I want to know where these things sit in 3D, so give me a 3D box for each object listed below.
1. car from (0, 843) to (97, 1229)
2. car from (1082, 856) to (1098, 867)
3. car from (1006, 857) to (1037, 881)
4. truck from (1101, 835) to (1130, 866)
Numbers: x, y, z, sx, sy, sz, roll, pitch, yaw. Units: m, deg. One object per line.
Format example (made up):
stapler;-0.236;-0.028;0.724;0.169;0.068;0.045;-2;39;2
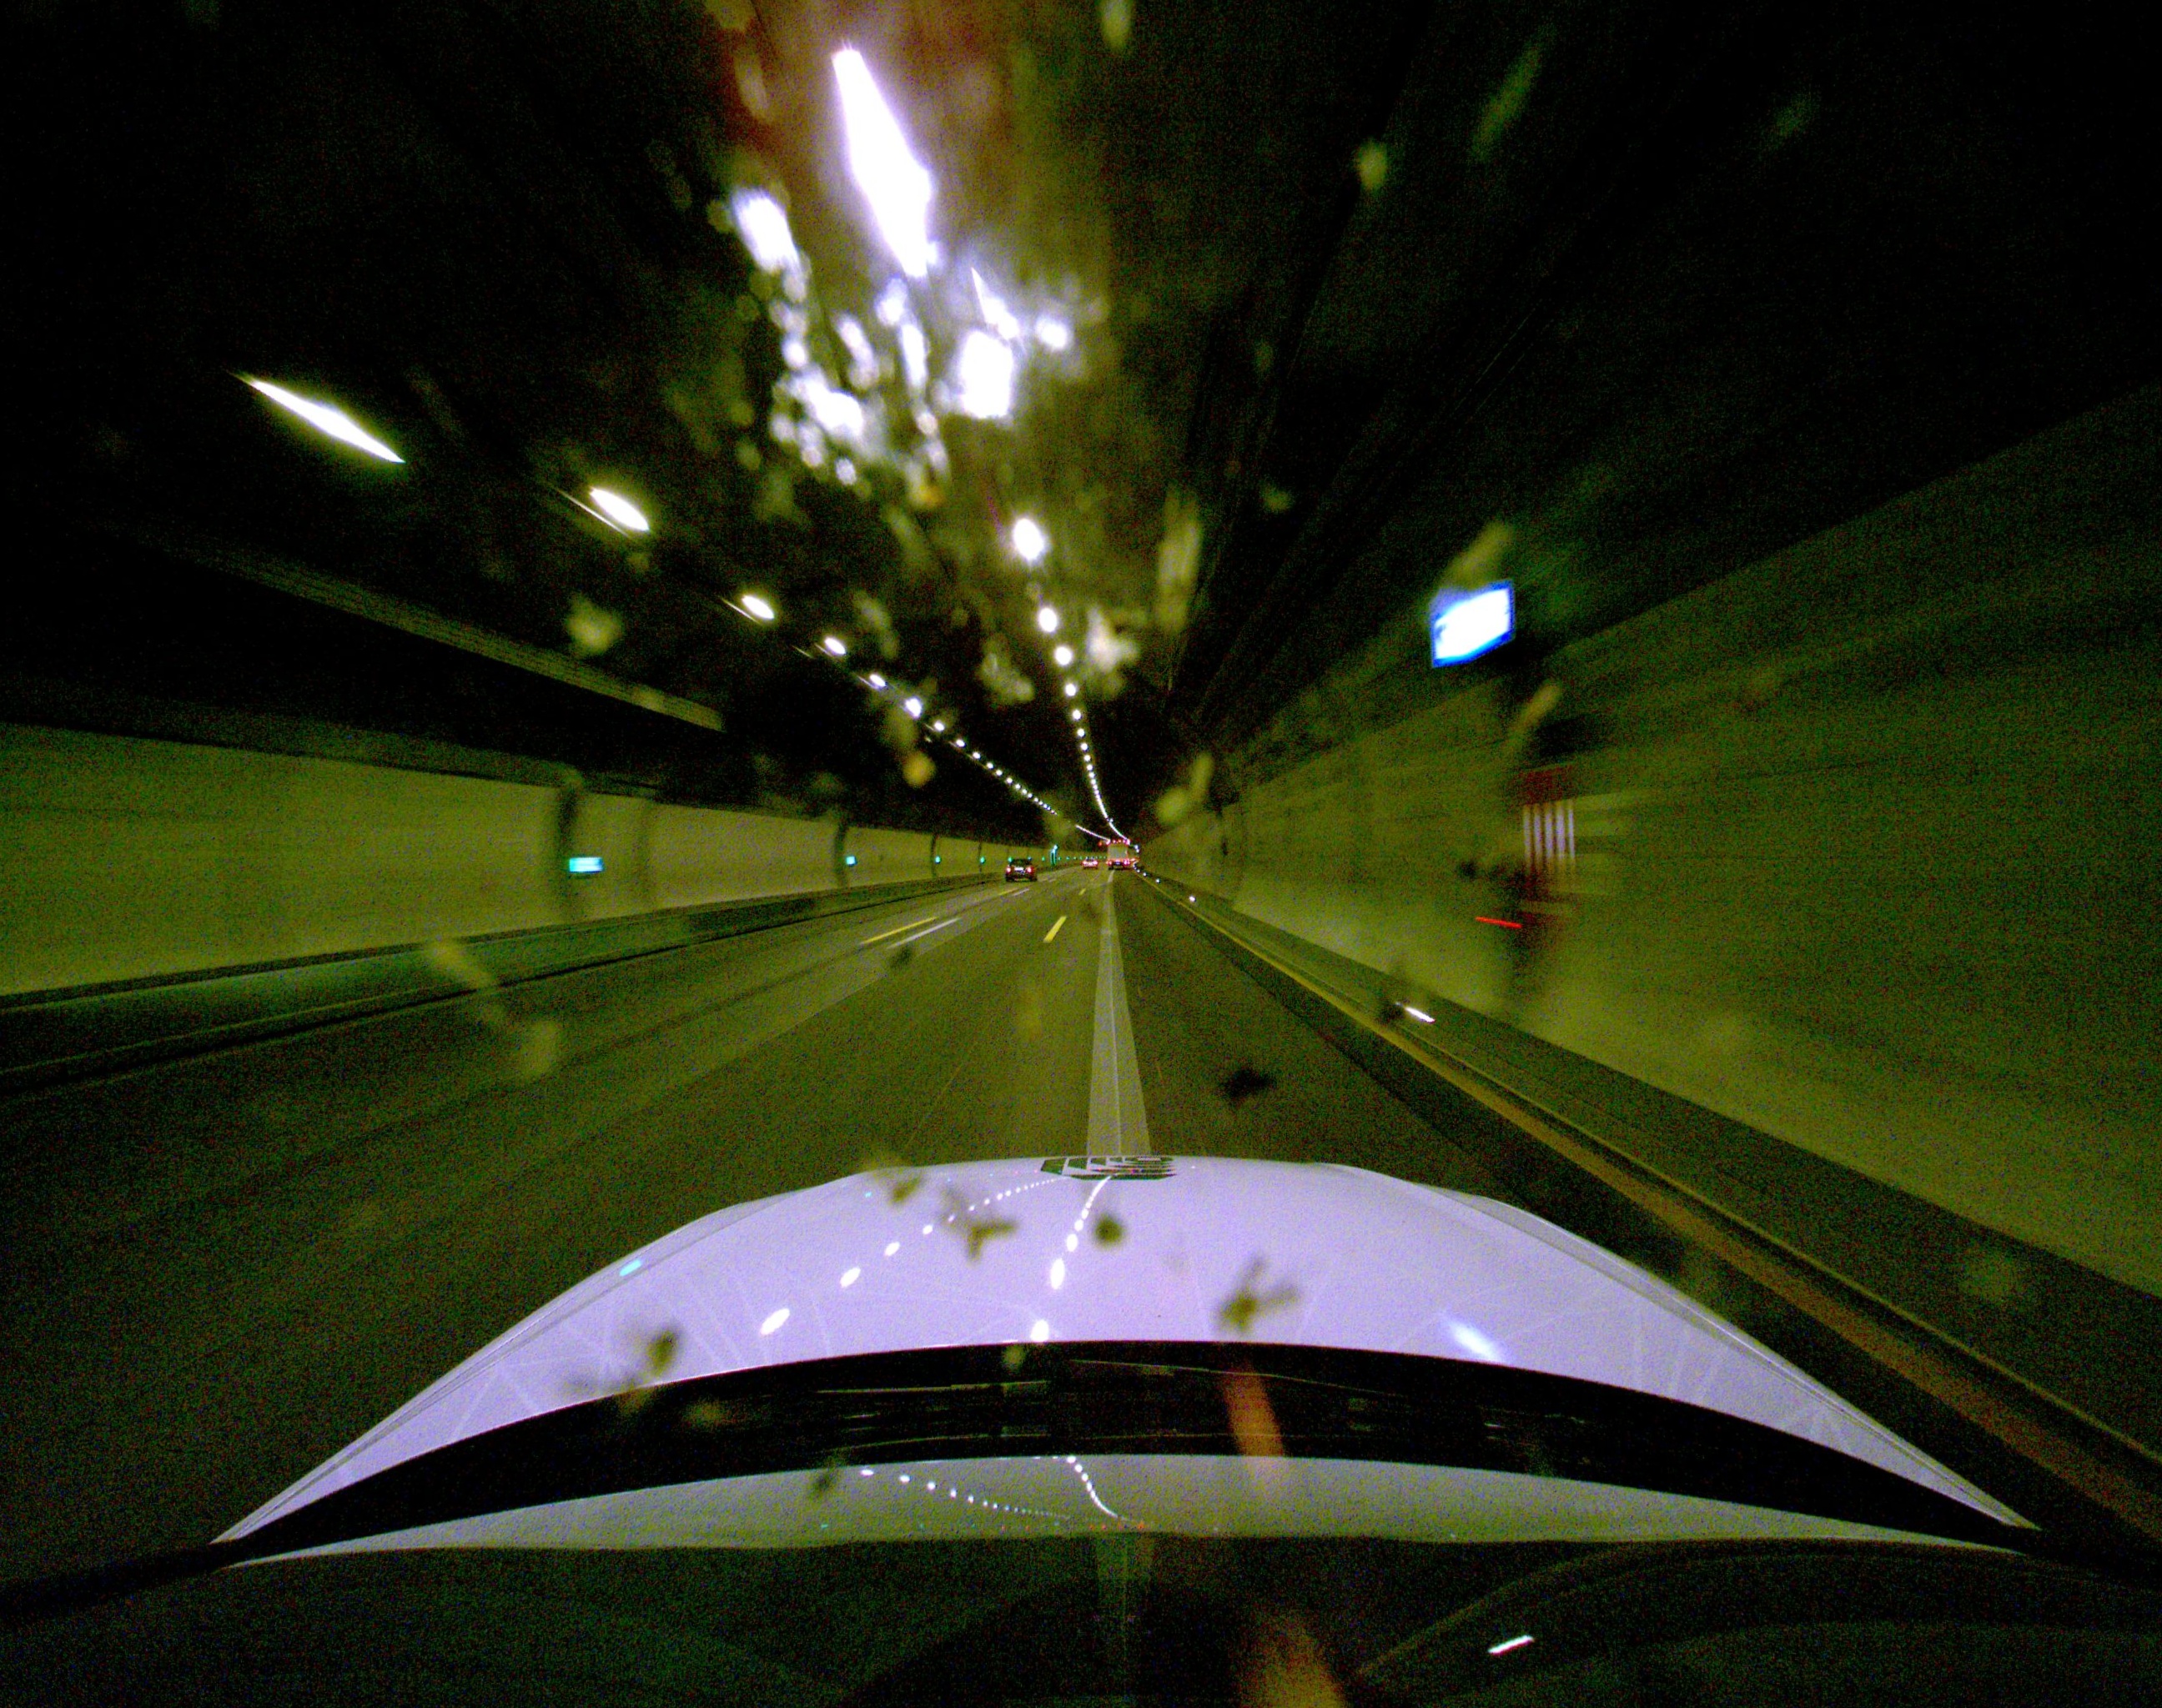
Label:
car;-5.373;0.723;1.202;1.986;1.540;4.744;-1;0;2
car;1.212;0.991;106.172;1.986;1.413;4.745;-1;0;2
car;-3.652;0.925;50.730;1.684;1.417;3.921;-1;0;-1
truck;4.521;-0.442;105.778;3.578;3.650;10.729;-1;0;2
